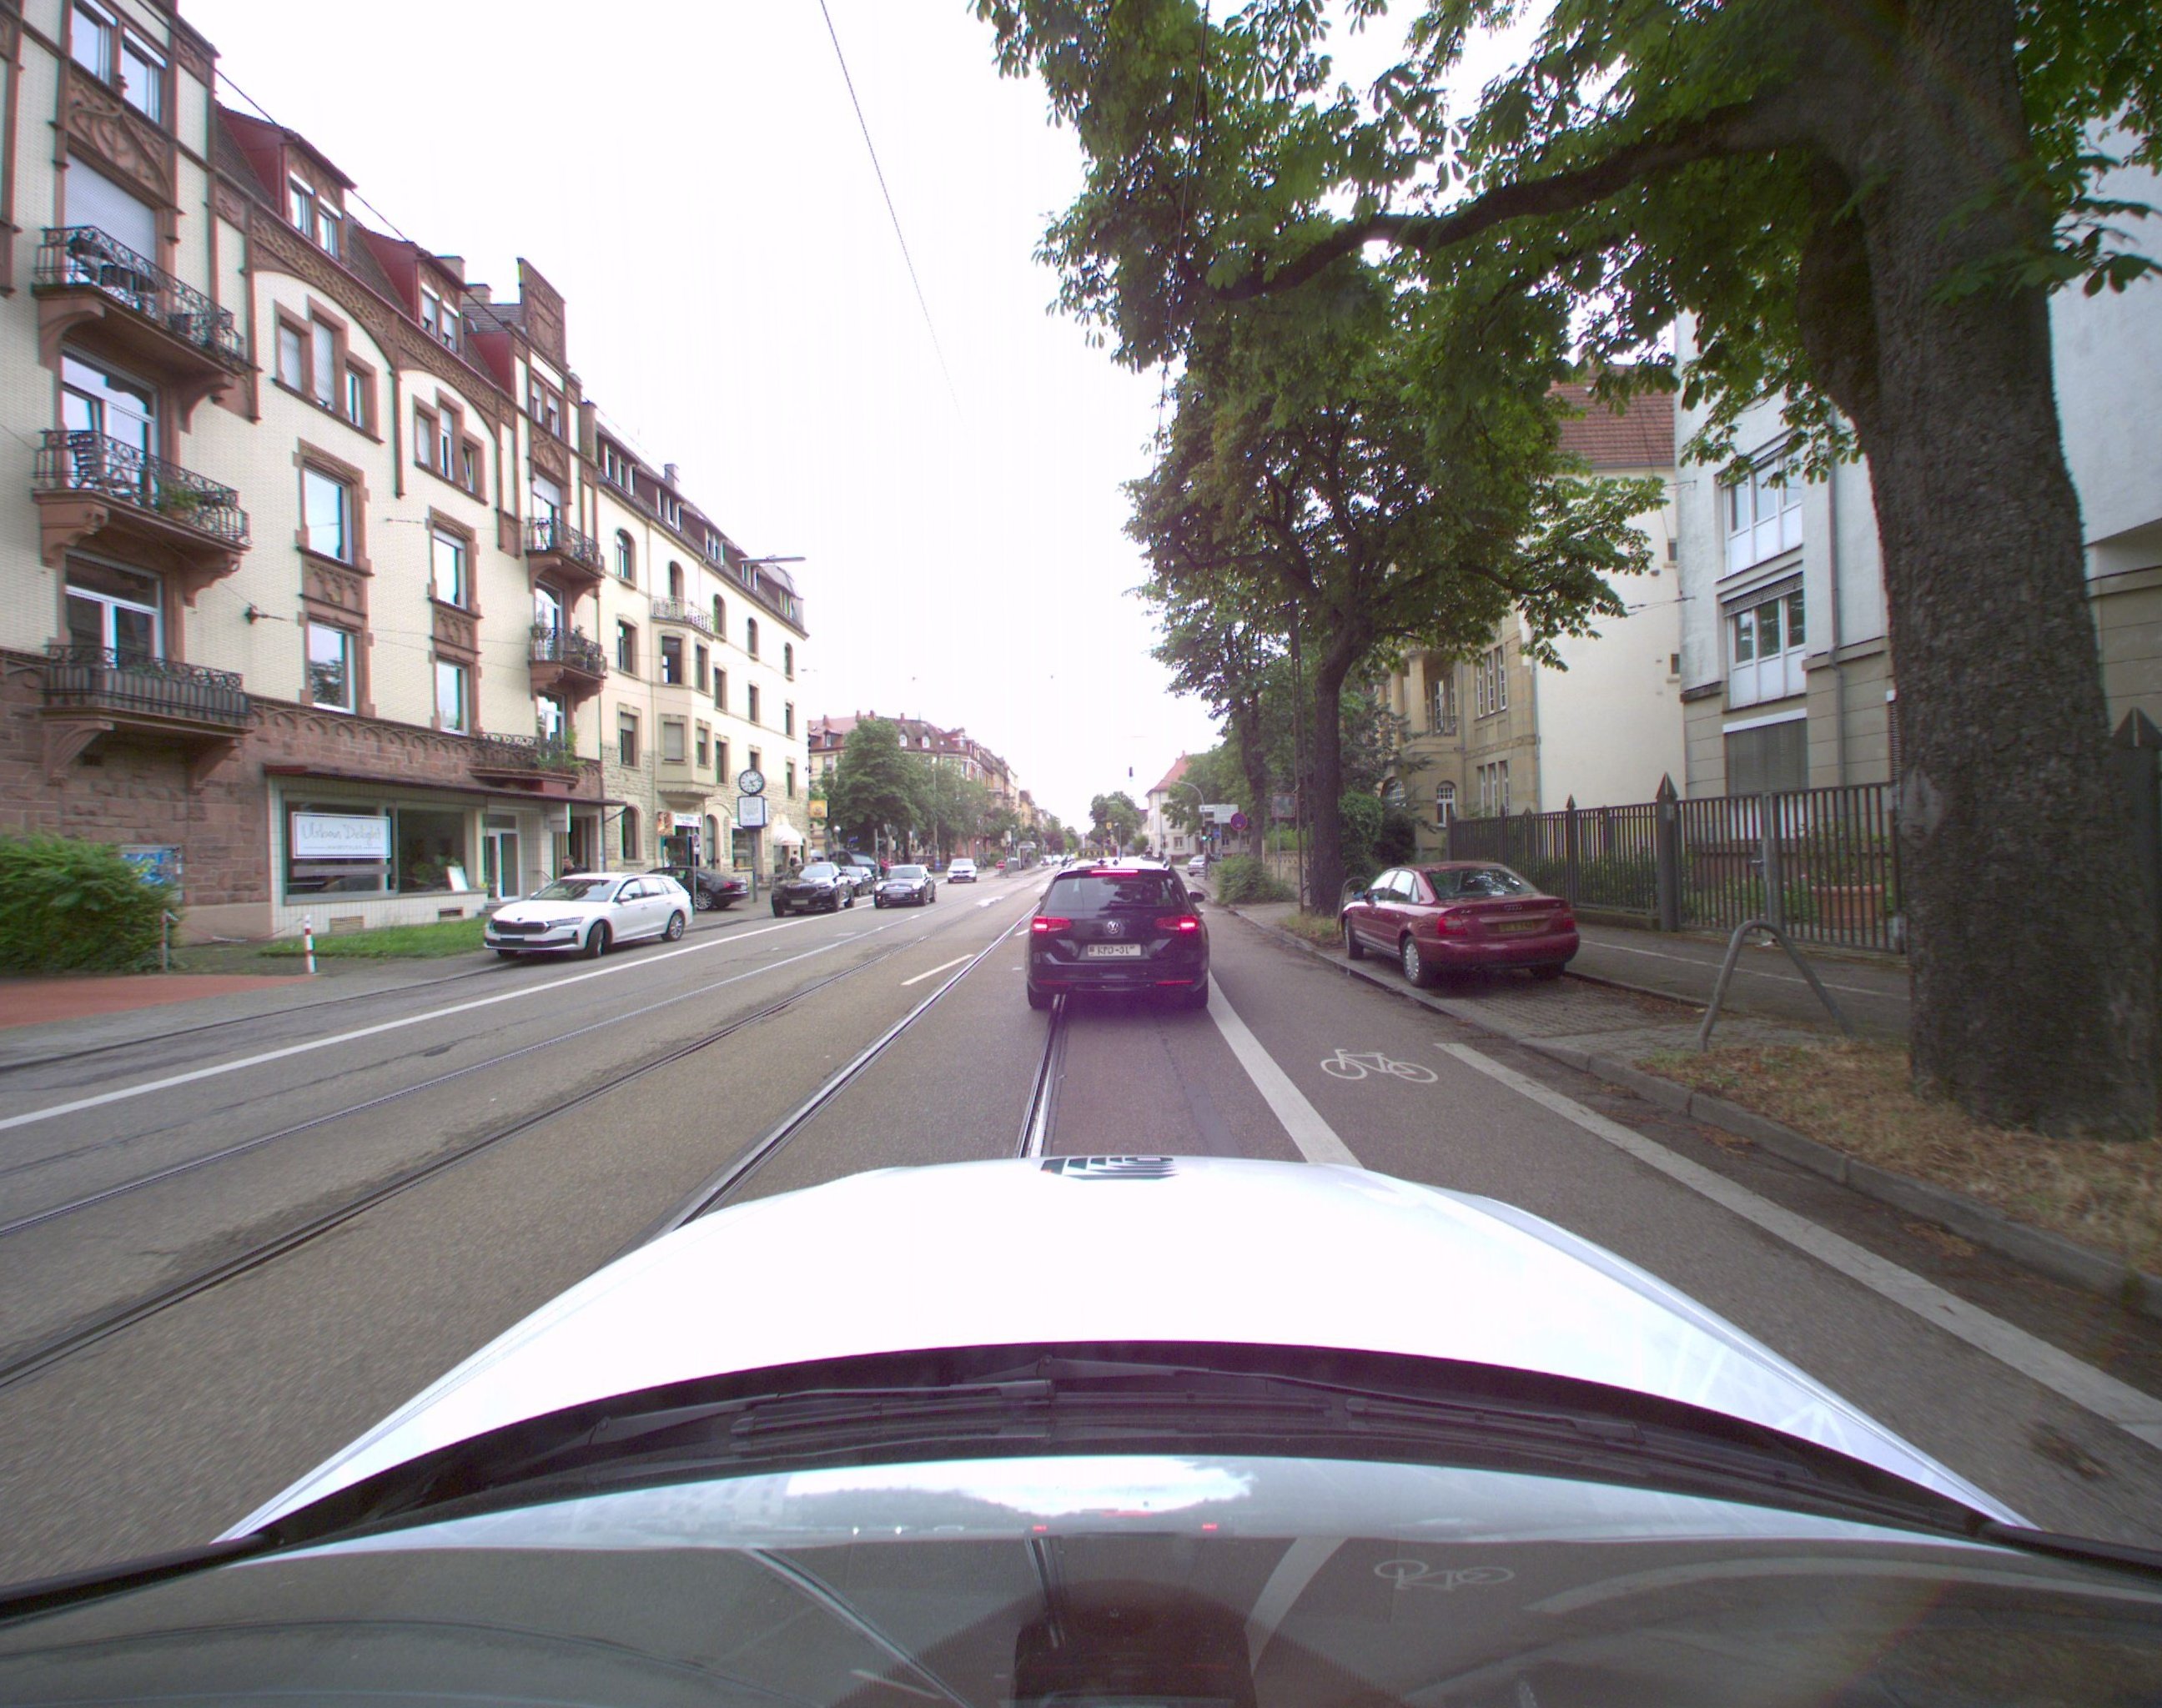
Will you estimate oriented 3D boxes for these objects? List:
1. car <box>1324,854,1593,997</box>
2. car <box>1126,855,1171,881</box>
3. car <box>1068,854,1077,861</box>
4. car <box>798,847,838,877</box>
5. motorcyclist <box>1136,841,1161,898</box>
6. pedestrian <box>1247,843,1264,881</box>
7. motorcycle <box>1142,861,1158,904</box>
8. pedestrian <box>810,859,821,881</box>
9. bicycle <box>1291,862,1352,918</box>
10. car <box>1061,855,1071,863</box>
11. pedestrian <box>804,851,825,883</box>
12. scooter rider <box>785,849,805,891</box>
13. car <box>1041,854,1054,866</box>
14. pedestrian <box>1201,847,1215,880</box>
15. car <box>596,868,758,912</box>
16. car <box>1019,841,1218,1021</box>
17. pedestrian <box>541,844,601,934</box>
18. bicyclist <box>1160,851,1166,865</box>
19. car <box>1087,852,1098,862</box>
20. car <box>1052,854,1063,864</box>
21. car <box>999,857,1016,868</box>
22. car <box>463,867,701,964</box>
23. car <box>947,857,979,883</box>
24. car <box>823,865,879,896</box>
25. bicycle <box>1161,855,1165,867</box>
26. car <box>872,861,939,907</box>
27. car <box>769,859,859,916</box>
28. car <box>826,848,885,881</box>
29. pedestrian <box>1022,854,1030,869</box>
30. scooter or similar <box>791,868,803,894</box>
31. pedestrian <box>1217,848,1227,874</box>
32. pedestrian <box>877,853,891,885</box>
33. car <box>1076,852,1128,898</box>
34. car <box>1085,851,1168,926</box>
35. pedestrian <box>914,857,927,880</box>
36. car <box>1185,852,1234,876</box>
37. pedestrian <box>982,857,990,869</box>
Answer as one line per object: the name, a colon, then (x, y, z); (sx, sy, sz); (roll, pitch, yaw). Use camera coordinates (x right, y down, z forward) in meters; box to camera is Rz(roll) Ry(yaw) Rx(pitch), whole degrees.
car: (4.610, 0.755, 10.698); (1.596, 1.399, 4.228); (-4, 0, 1)
car: (4.002, 0.791, 47.880); (1.878, 1.408, 4.016); (-2, 0, 15)
car: (-1.931, 0.853, 193.446); (1.787, 1.596, 4.004); (-1, 0, 4)
car: (-23.363, 0.728, 72.225); (2.193, 2.527, 5.327); (-2, 0, -31)
motorcyclist: (2.072, 0.459, 24.990); (0.699, 1.692, 0.805); (-2, 0, 4)
pedestrian: (8.384, 0.391, 39.125); (0.630, 1.815, 0.726); (-2, 0, -1)
motorcycle: (2.116, 0.843, 24.955); (0.444, 1.235, 1.909); (-2, 0, 5)
pedestrian: (-21.567, 1.287, 66.100); (0.703, 1.715, 0.546); (-1, 0, -39)
bicycle: (5.495, 0.796, 18.528); (1.915, 1.198, 0.428); (0, -2, -44)
car: (-2.766, 0.914, 155.259); (1.715, 1.465, 3.864); (-1, 0, 1)
pedestrian: (-17.129, 0.850, 52.384); (0.970, 2.013, 0.836); (-2, 0, 1)
scooter rider: (-13.976, 0.783, 39.789); (0.640, 2.013, 0.757); (-2, 0, -2)
car: (-5.100, 0.891, 123.508); (1.715, 1.622, 3.864); (-1, 0, 1)
pedestrian: (7.240, 0.551, 46.406); (0.583, 1.831, 0.604); (-5, 0, 2)
car: (-13.472, 1.190, 27.371); (4.416, 1.370, 1.878); (1, 0, -4)
car: (0.375, 0.671, 9.143); (1.717, 1.546, 4.001); (-1, 0, 1)
pedestrian: (-10.827, 0.720, 17.316); (0.666, 1.844, 0.882); (-2, 0, 0)
bicyclist: (8.788, 0.426, 87.305); (0.648, 1.568, 0.697); (-2, 0, 8)
car: (2.371, 0.574, 166.942); (2.025, 2.014, 4.001); (-1, -1, 1)
car: (-4.009, 0.861, 138.696); (1.715, 1.622, 3.864); (-1, 0, 1)
car: (-10.884, 1.251, 120.528); (1.986, 1.596, 4.001); (-2, 0, 1)
car: (-9.407, 1.058, 15.901); (1.741, 1.484, 4.609); (-2, 0, 0)
car: (-7.628, 1.019, 52.848); (1.695, 1.496, 3.925); (-3, 0, -4)
car: (-11.249, 1.283, 40.064); (1.644, 1.361, 4.127); (1, 0, -1)
bicycle: (8.774, 0.748, 87.266); (0.295, 1.223, 1.434); (-2, 0, 9)
car: (-6.044, 0.996, 28.398); (1.604, 1.422, 3.484); (-3, 0, -2)
car: (-8.886, 1.059, 27.503); (1.882, 1.611, 4.875); (-4, 0, -7)
car: (-17.434, 0.824, 62.778); (2.198, 2.417, 5.316); (-1, 0, -41)
pedestrian: (-5.737, 0.748, 85.395); (0.711, 1.520, 0.590); (-2, 0, 2)
scooter or similar: (-13.883, 1.314, 39.795); (0.230, 1.234, 0.953); (-2, 0, -1)
pedestrian: (10.229, 0.490, 59.208); (0.510, 1.831, 0.420); (-5, 0, 17)
pedestrian: (-11.769, 0.882, 48.628); (0.621, 1.842, 0.609); (-2, 0, -1)
car: (0.759, 0.705, 29.681); (1.717, 1.546, 4.001); (-1, 0, 1)
car: (1.009, 0.728, 19.243); (1.717, 1.546, 4.001); (-1, 0, 1)
pedestrian: (-12.153, 1.092, 61.781); (0.833, 1.663, 0.591); (-2, 0, 2)
car: (8.735, 0.686, 55.021); (1.974, 1.577, 4.025); (-1, -1, 29)
pedestrian: (-11.601, 1.114, 99.694); (0.582, 1.520, 0.653); (-2, 0, 37)
